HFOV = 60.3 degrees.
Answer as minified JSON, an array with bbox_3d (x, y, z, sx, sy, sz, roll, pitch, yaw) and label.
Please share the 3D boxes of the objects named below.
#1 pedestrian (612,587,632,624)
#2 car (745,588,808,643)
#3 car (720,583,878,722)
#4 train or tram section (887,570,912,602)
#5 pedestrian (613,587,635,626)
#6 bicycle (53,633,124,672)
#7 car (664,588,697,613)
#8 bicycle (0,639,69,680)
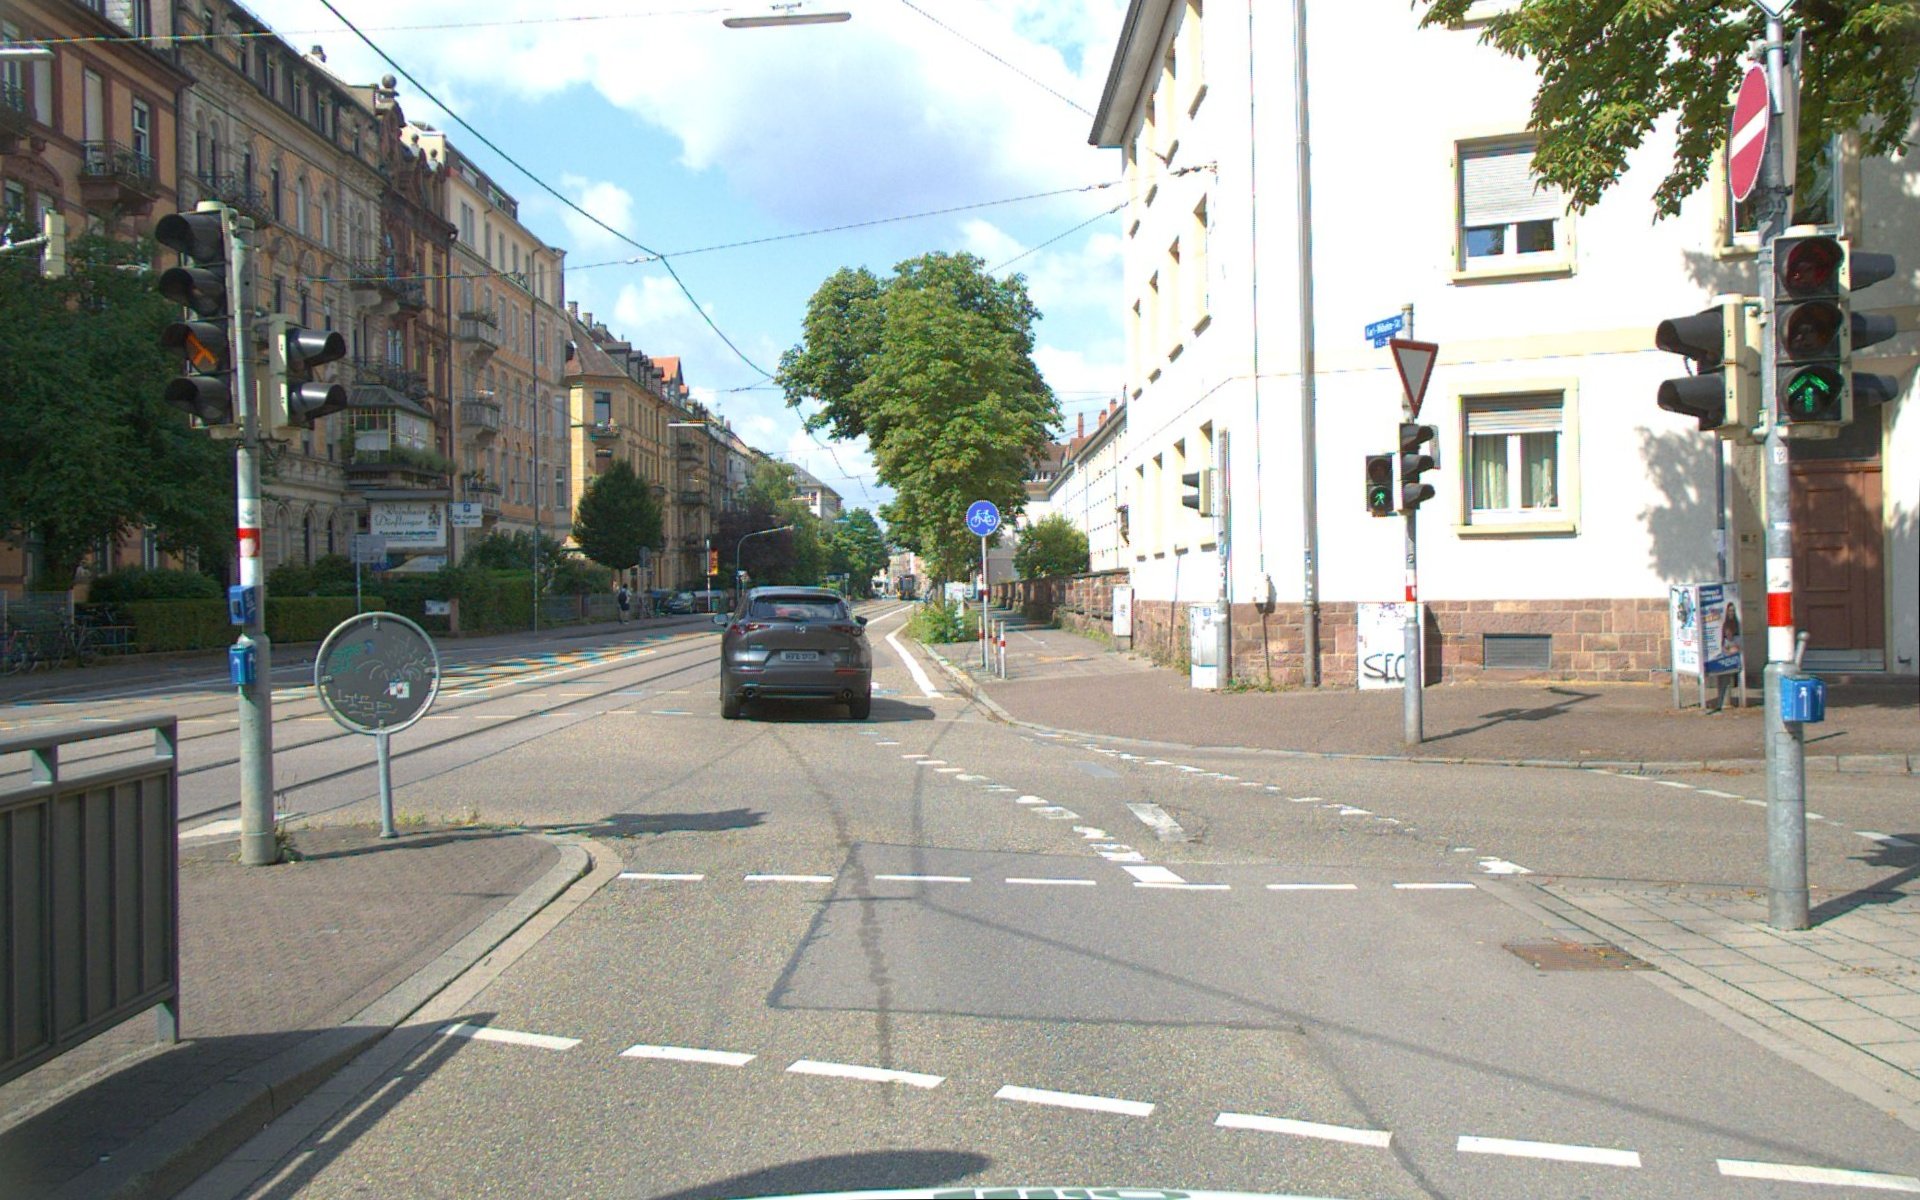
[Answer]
[{"bbox_3d":[-15.885,0.250,77.765,0.771,1.718,0.732,-1,0,1],"label":"pedestrian"},{"bbox_3d":[-5.281,0.425,47.884,1.741,1.489,3.838,1,1,-5],"label":"car"},{"bbox_3d":[-2.106,0.587,20.712,1.749,1.540,3.992,1,0,-9],"label":"car"},{"bbox_3d":[-8.132,-1.881,224.603,2.936,4.053,13.807,-1,0,0],"label":"train or tram section"},{"bbox_3d":[-15.006,0.294,73.917,0.771,1.718,0.732,-1,0,1],"label":"pedestrian"},{"bbox_3d":[-17.192,1.022,32.672,0.377,0.688,1.712,-1,1,4],"label":"bicycle"},{"bbox_3d":[-18.877,0.006,111.762,1.623,1.624,3.929,-1,0,-1],"label":"car"},{"bbox_3d":[-17.128,1.082,30.465,0.377,0.664,1.712,-1,1,4],"label":"bicycle"}]
